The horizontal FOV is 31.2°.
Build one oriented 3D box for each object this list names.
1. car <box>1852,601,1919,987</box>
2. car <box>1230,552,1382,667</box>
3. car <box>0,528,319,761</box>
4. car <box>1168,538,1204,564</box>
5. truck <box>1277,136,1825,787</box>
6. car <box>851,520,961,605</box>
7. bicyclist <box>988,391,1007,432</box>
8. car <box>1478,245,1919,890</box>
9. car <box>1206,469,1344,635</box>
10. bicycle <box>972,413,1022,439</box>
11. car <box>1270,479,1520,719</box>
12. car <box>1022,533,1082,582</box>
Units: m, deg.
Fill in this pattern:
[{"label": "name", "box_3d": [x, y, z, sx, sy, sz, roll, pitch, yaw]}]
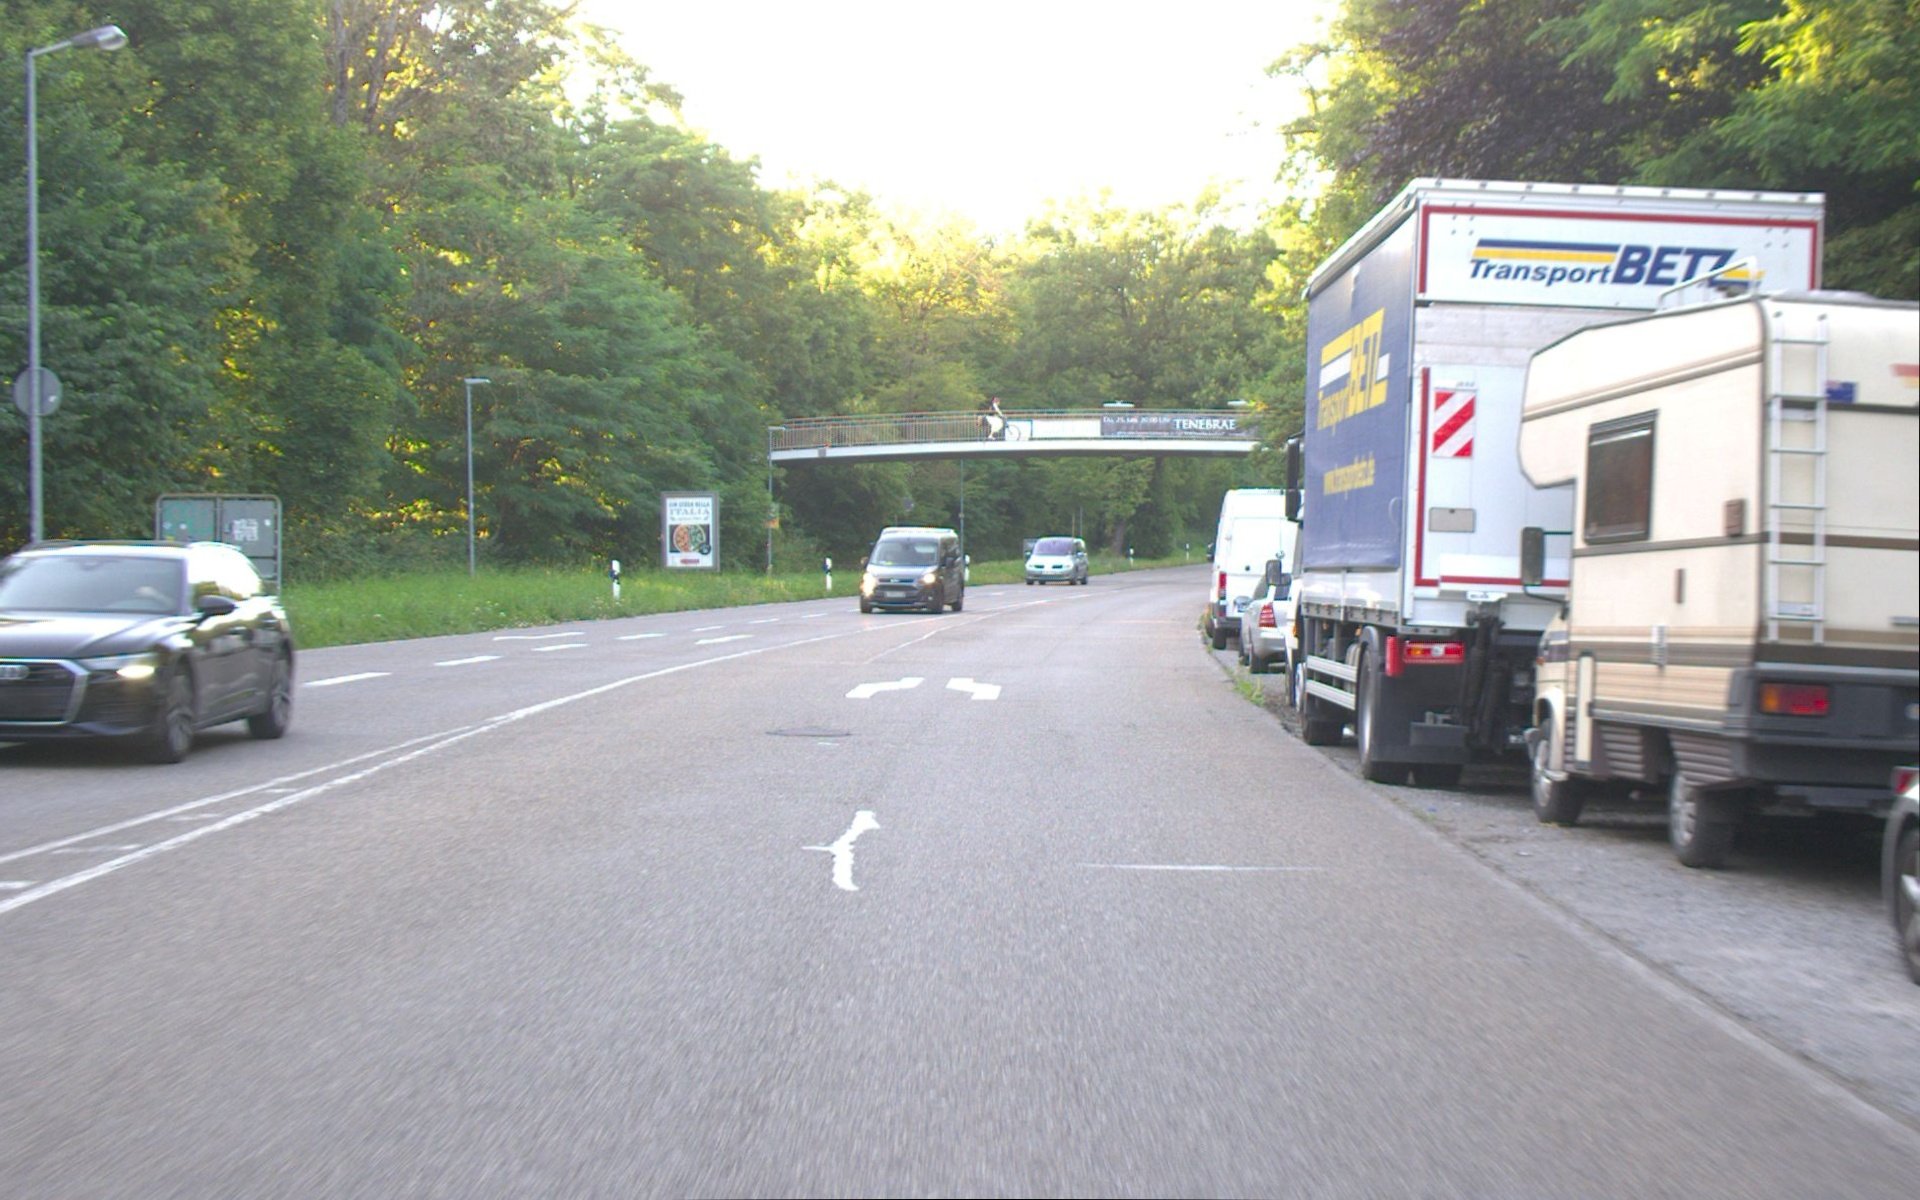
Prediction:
[{"label": "car", "box_3d": [4.412, 0.739, 11.436, 1.698, 1.401, 4.076, 0, 1, -2]}, {"label": "car", "box_3d": [4.556, 0.094, 45.713, 1.683, 1.368, 4.270, 3, 1, 2]}, {"label": "car", "box_3d": [-6.028, 0.235, 24.295, 1.892, 1.435, 4.770, 1, 1, 2]}, {"label": "car", "box_3d": [12.826, -2.799, 195.069, 1.892, 1.442, 4.109, 0, 1, 6]}, {"label": "truck", "box_3d": [4.114, -0.959, 26.200, 2.658, 4.014, 9.722, 1, 1, 1]}, {"label": "car", "box_3d": [-1.174, -0.842, 76.825, 1.844, 1.794, 4.746, 1, 1, 6]}, {"label": "bicyclist", "box_3d": [1.448, -7.264, 132.553, 0.665, 1.576, 0.547, 1, 1, 9]}, {"label": "car", "box_3d": [4.561, -0.176, 18.249, 2.408, 2.848, 5.933, 1, 1, -3]}, {"label": "car", "box_3d": [5.114, -0.795, 56.537, 1.964, 2.503, 6.015, 3, 1, 3]}, {"label": "bicycle", "box_3d": [1.432, -6.723, 132.569, 1.845, 0.946, 0.550, 1, 1, 9]}, {"label": "car", "box_3d": [4.336, -0.054, 34.982, 1.994, 2.182, 4.928, 3, 1, 2]}, {"label": "car", "box_3d": [3.367, -1.551, 125.017, 1.844, 1.729, 3.999, 1, 1, 6]}]
